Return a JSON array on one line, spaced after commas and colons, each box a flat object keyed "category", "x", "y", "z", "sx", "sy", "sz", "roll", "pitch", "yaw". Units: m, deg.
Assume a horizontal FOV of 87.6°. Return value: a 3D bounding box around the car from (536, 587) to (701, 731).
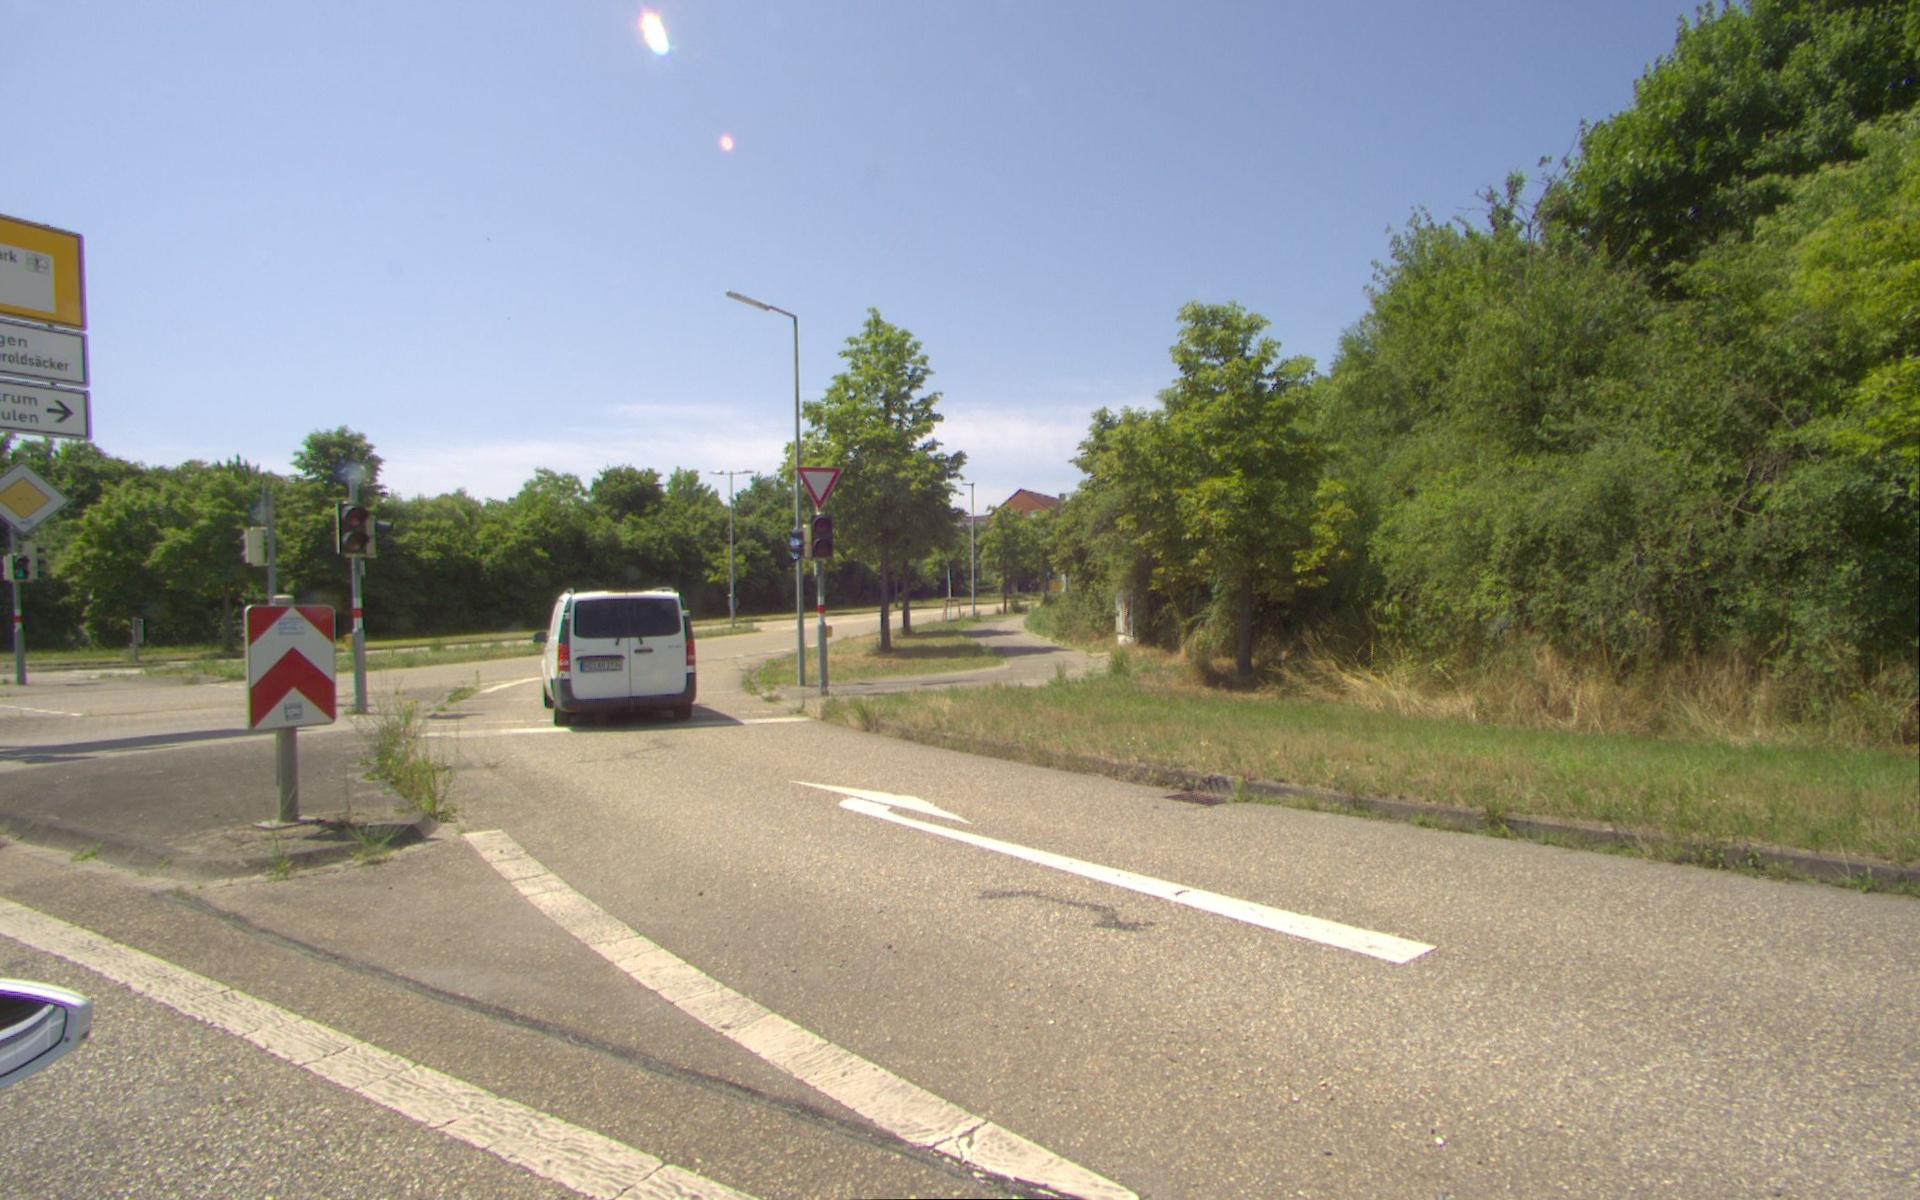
[{"category": "car", "x": -5.386, "y": 0.782, "z": 15.370, "sx": 1.837, "sy": 1.842, "sz": 4.889, "roll": 0, "pitch": 0, "yaw": -26}]
